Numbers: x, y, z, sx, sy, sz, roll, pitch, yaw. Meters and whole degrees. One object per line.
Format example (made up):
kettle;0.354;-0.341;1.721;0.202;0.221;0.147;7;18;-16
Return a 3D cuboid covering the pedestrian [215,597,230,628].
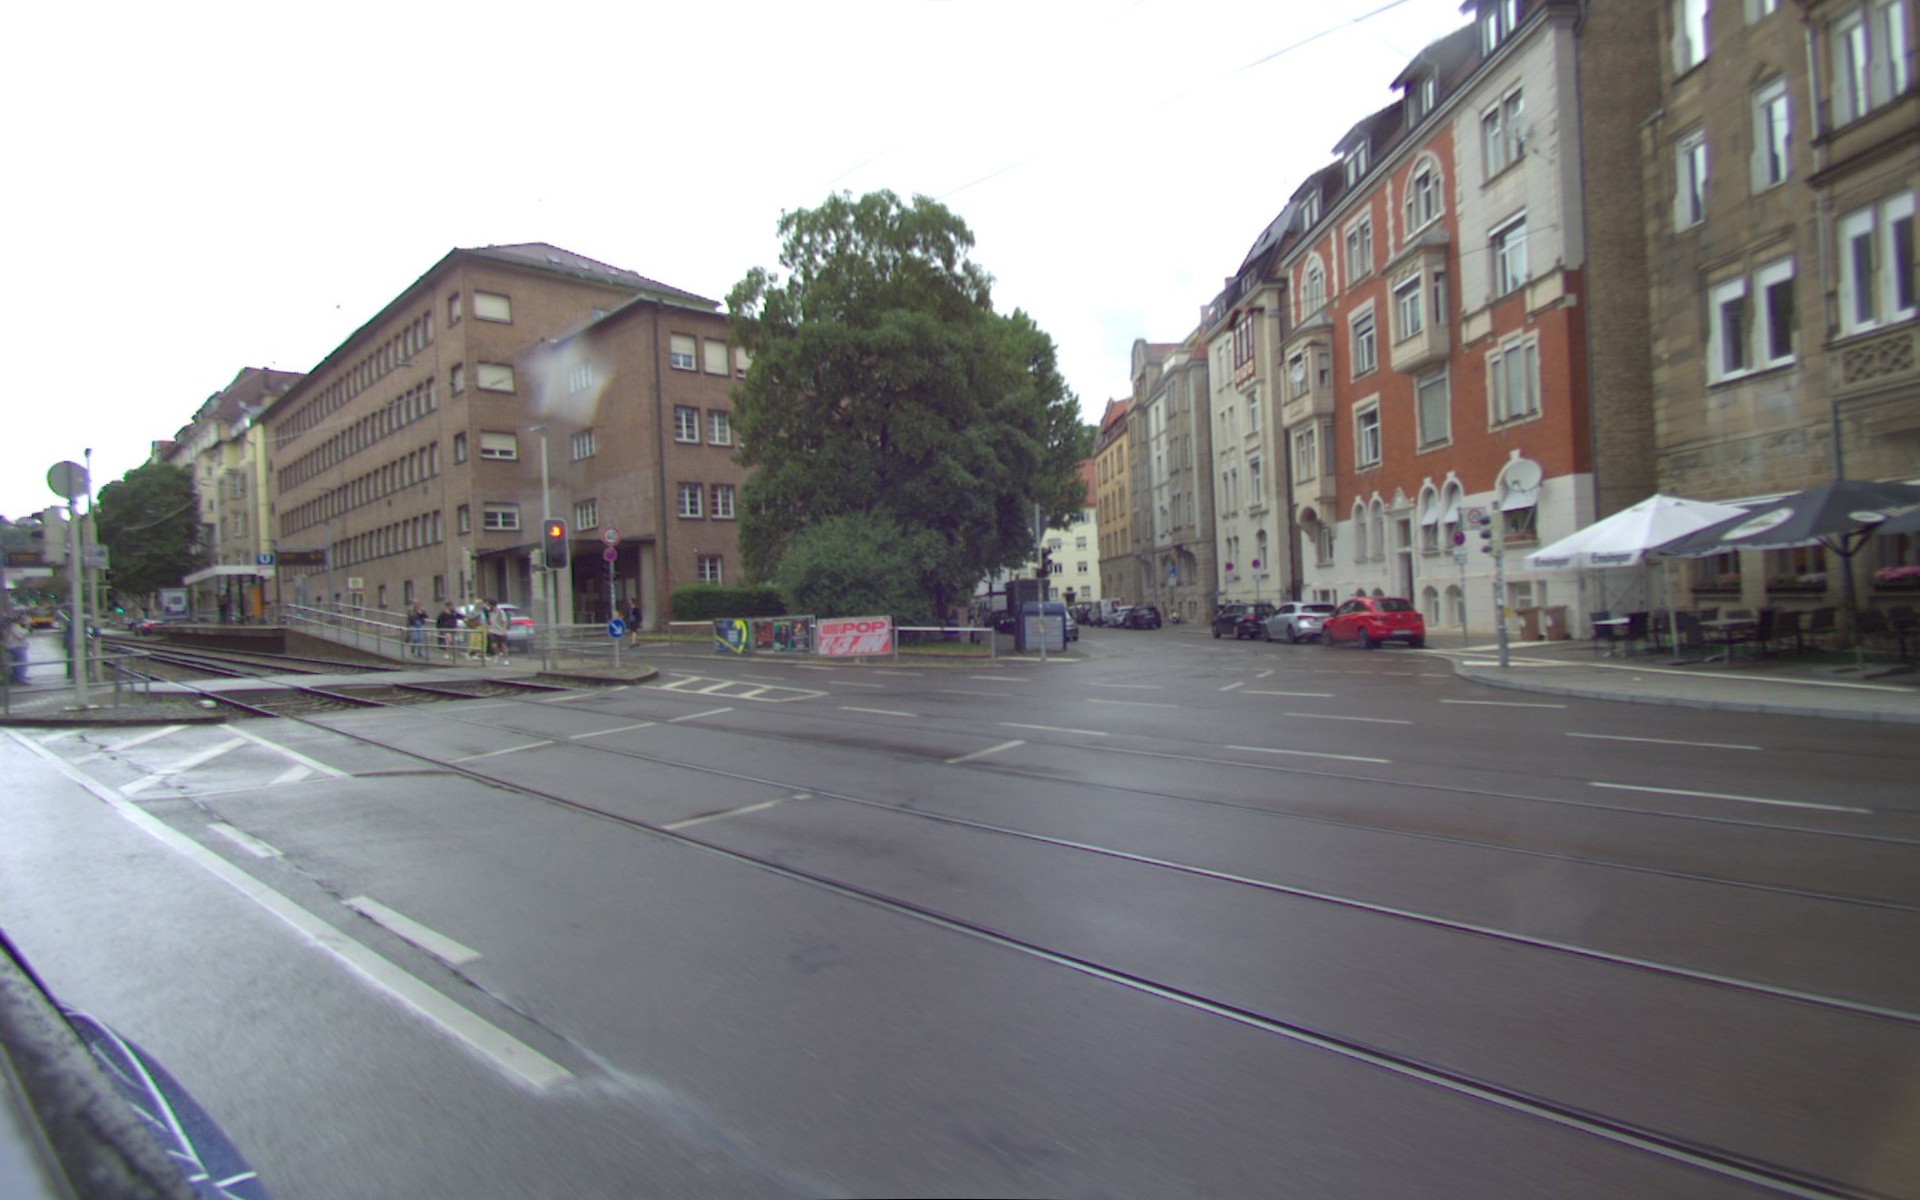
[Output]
pedestrian;-41.288;0.721;56.665;0.491;1.722;0.580;-2;-1;45

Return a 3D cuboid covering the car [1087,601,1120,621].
car;10.605;0.786;74.998;1.716;1.413;4.002;-1;-1;-3

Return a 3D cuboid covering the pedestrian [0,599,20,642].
pedestrian;-40.294;0.874;42.530;1.101;1.788;1.112;-2;1;-44

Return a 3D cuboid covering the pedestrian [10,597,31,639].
pedestrian;-41.588;0.798;44.804;0.636;1.788;0.711;-2;1;-44

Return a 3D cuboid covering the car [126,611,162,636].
car;-66.651;1.915;82.651;1.970;2.029;4.003;1;-1;-44

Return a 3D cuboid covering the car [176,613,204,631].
car;-64.714;1.832;85.044;1.625;1.477;3.114;-2;0;-43

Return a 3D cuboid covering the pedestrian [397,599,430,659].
pedestrian;-16.426;0.859;30.417;0.689;1.711;0.657;2;4;43

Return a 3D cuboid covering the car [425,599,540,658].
car;-16.579;0.933;35.002;1.970;1.640;5.258;1;2;-44

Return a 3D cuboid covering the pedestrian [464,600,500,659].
pedestrian;-13.767;0.846;29.156;0.649;1.663;0.756;0;-1;45

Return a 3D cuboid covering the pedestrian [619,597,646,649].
pedestrian;-10.800;0.748;33.370;0.688;1.688;0.597;-2;-1;43

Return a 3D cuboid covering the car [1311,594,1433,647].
car;11.924;0.585;29.572;1.716;1.413;4.002;-1;-1;-3

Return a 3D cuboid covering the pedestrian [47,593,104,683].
pedestrian;-20.590;0.863;23.559;0.886;2.029;0.948;-2;1;-44

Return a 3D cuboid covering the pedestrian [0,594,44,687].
pedestrian;-21.566;0.902;22.815;0.916;2.029;0.947;-2;0;1

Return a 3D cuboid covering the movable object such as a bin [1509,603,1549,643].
movable object such as a bin;15.075;0.598;26.805;0.709;1.050;0.552;-1;-1;-14

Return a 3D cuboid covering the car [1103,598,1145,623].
car;11.158;0.717;68.983;1.970;1.643;4.003;-1;0;-3

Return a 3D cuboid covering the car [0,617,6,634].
car;-113.431;3.016;118.868;4.000;1.918;1.781;-1;-2;43

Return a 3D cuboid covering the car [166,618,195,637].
car;-70.340;2.495;91.299;1.625;1.593;4.343;-2;0;-43

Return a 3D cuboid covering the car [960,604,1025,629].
car;2.024;1.051;63.099;3.943;1.489;1.742;-1;-1;0

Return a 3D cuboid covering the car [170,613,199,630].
car;-67.155;1.853;87.651;1.625;1.414;3.636;-2;0;-43

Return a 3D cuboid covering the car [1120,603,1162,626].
car;11.369;0.911;63.685;1.716;1.413;4.002;-1;-1;-3

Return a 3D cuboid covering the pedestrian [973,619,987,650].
pedestrian;0.701;1.220;36.062;0.411;1.093;0.283;0;-1;-20

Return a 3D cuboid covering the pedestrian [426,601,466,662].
pedestrian;-14.831;0.892;29.179;0.883;1.709;0.735;1;2;44

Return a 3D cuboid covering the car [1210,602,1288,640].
car;11.491;0.829;40.512;1.716;1.413;4.146;-1;-1;-3

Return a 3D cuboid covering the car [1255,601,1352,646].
car;11.675;0.772;34.704;1.716;1.413;4.170;-1;-1;-3

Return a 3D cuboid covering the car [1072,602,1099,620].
car;10.396;0.894;84.022;1.717;1.413;3.702;-1;-1;-2

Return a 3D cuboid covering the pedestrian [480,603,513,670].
pedestrian;-11.451;0.884;25.023;0.683;1.595;0.959;-1;0;-21

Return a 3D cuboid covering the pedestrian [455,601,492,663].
pedestrian;-13.362;0.869;27.807;0.735;1.659;0.641;-1;3;-44

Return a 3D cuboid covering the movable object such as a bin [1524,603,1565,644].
movable object such as a bin;15.142;0.598;26.208;0.709;1.050;0.552;-1;-1;-14
